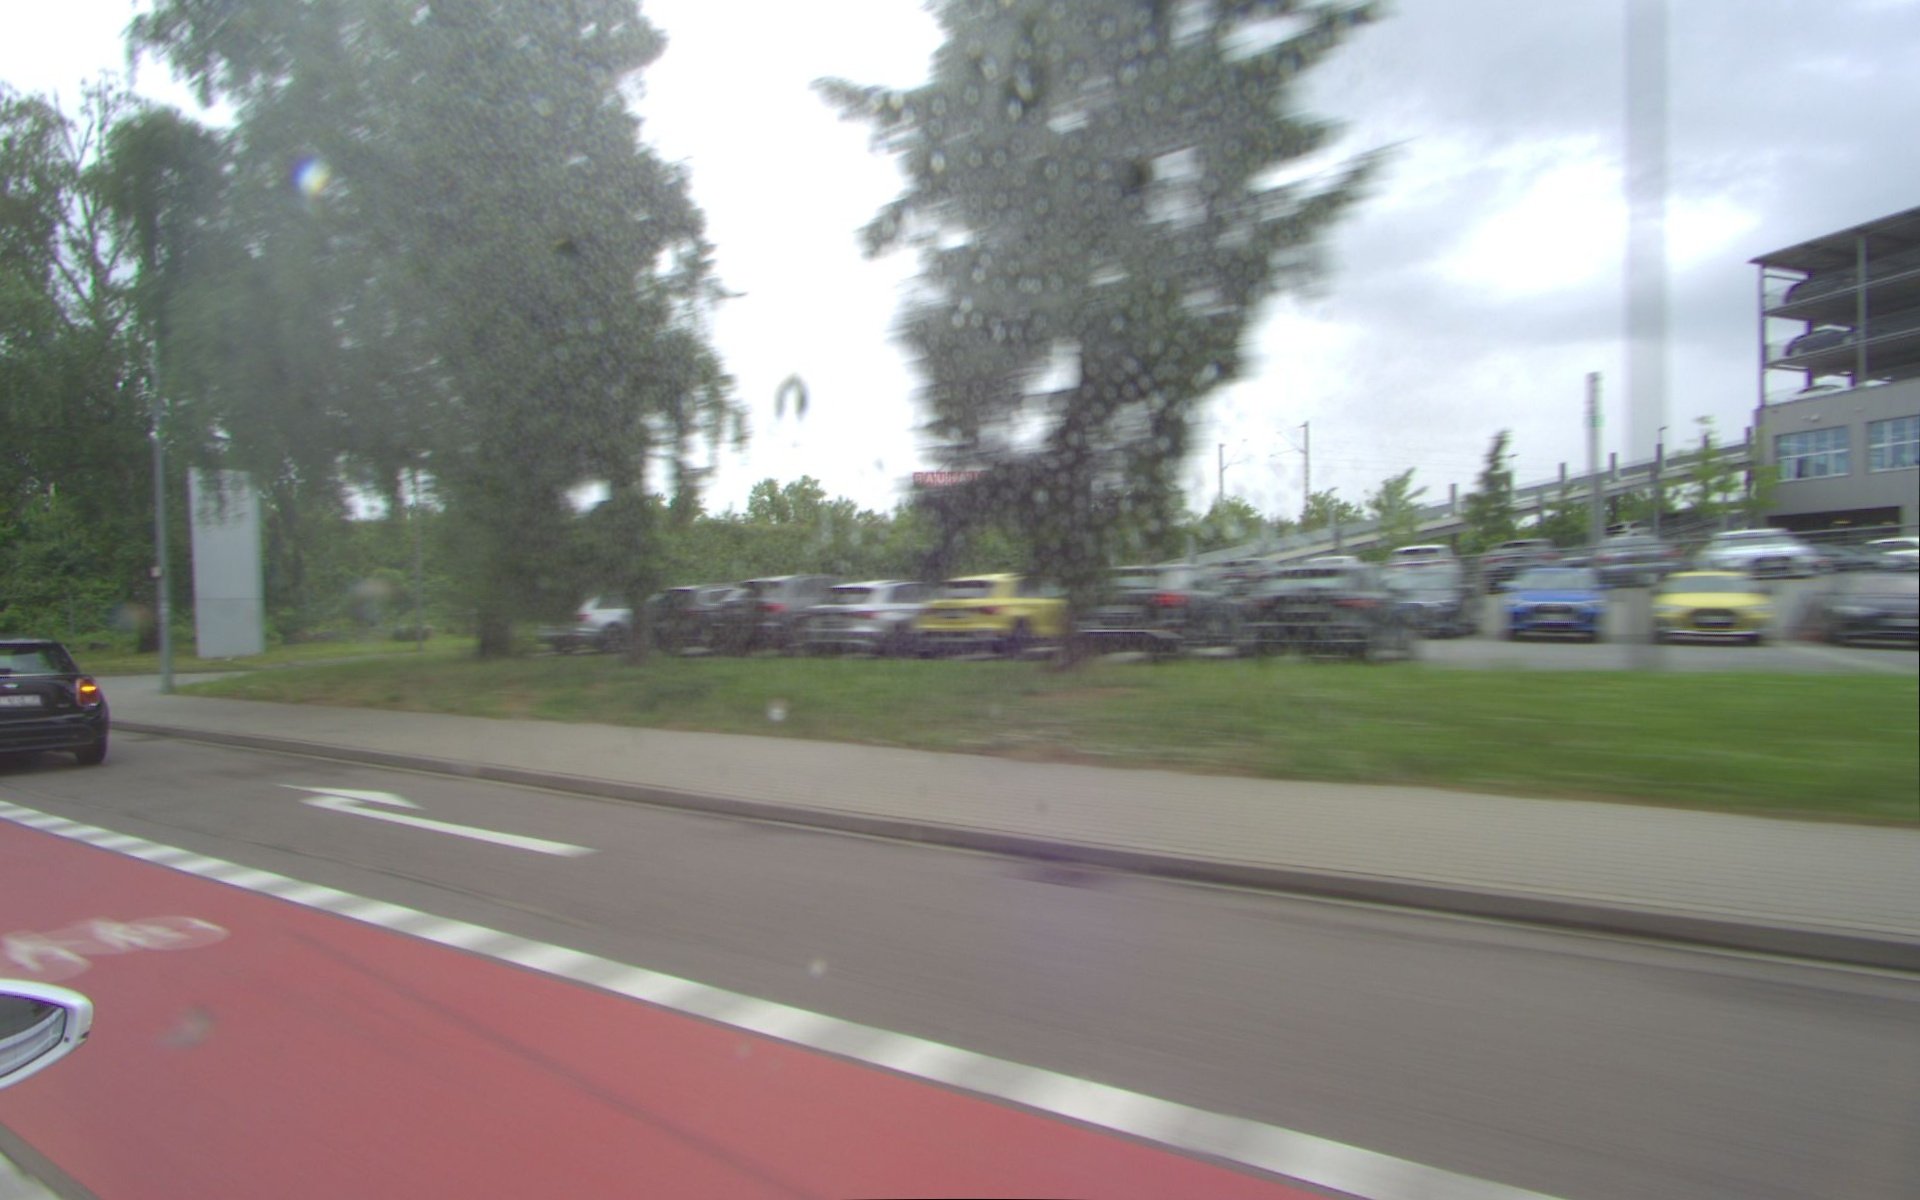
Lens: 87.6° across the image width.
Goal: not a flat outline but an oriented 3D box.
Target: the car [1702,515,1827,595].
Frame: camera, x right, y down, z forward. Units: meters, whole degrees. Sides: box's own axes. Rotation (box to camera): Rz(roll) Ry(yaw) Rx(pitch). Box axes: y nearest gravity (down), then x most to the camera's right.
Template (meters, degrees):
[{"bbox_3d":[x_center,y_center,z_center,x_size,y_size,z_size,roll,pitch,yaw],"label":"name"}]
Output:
[{"bbox_3d":[19.790,-1.029,24.809,1.805,1.554,4.293,-1,-3,31],"label":"car"}]

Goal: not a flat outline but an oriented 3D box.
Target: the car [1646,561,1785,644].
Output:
[{"bbox_3d":[15.438,0.085,20.667,1.875,1.526,4.290,-1,-1,32],"label":"car"}]

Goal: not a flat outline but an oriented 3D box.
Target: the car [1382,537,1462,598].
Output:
[{"bbox_3d":[13.451,-0.872,29.010,1.675,1.399,4.293,-1,-3,31],"label":"car"}]

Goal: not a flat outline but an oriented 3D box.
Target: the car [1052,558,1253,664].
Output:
[{"bbox_3d":[3.150,0.246,15.791,1.925,1.441,3.746,-1,-3,32],"label":"car"}]

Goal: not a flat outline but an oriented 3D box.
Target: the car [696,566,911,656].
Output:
[{"bbox_3d":[-3.044,0.312,20.368,1.942,1.621,4.289,-1,-3,34],"label":"car"}]

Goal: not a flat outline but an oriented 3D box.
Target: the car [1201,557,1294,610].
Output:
[{"bbox_3d":[9.123,-0.462,31.569,1.805,1.391,4.293,-1,-3,31],"label":"car"}]

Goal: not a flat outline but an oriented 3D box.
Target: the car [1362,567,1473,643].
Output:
[{"bbox_3d":[10.904,0.087,23.727,1.874,1.622,4.289,1,1,32],"label":"car"}]

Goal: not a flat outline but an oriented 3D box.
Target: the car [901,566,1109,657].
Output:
[{"bbox_3d":[0.906,0.276,17.435,1.786,1.396,3.986,-1,-3,35],"label":"car"}]

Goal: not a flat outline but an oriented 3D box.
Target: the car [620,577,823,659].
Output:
[{"bbox_3d":[-5.135,0.465,22.160,1.940,1.621,4.293,-1,-3,31],"label":"car"}]

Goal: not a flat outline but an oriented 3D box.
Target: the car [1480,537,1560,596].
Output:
[{"bbox_3d":[15.531,-0.855,27.697,1.805,1.263,4.293,-1,-3,31],"label":"car"}]

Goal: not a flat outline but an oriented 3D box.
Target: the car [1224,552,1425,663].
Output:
[{"bbox_3d":[5.420,0.197,14.573,1.876,1.370,3.984,-1,-3,34],"label":"car"}]

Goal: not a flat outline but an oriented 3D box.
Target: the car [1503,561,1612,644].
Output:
[{"bbox_3d":[13.273,0.043,22.256,1.874,1.648,4.289,1,1,32],"label":"car"}]

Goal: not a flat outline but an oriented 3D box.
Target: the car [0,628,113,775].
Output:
[{"bbox_3d":[-10.975,1.039,11.066,3.725,1.450,1.674,-1,-1,37],"label":"car"}]

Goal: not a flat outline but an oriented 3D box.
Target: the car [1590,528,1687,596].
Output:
[{"bbox_3d":[17.591,-0.920,26.122,1.805,1.389,4.293,-1,-3,31],"label":"car"}]

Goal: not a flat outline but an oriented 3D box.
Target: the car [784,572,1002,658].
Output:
[{"bbox_3d":[-1.117,0.354,18.743,1.876,1.400,4.289,-1,-3,34],"label":"car"}]

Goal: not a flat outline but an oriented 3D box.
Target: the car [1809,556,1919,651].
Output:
[{"bbox_3d":[17.619,0.056,18.985,1.876,1.622,4.285,1,1,35],"label":"car"}]

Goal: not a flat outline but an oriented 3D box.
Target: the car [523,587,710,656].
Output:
[{"bbox_3d":[-8.183,0.506,24.259,1.712,1.509,4.295,-1,-1,27],"label":"car"}]

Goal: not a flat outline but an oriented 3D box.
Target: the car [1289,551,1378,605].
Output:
[{"bbox_3d":[11.366,-0.601,30.297,1.805,1.306,4.293,-1,-3,31],"label":"car"}]
